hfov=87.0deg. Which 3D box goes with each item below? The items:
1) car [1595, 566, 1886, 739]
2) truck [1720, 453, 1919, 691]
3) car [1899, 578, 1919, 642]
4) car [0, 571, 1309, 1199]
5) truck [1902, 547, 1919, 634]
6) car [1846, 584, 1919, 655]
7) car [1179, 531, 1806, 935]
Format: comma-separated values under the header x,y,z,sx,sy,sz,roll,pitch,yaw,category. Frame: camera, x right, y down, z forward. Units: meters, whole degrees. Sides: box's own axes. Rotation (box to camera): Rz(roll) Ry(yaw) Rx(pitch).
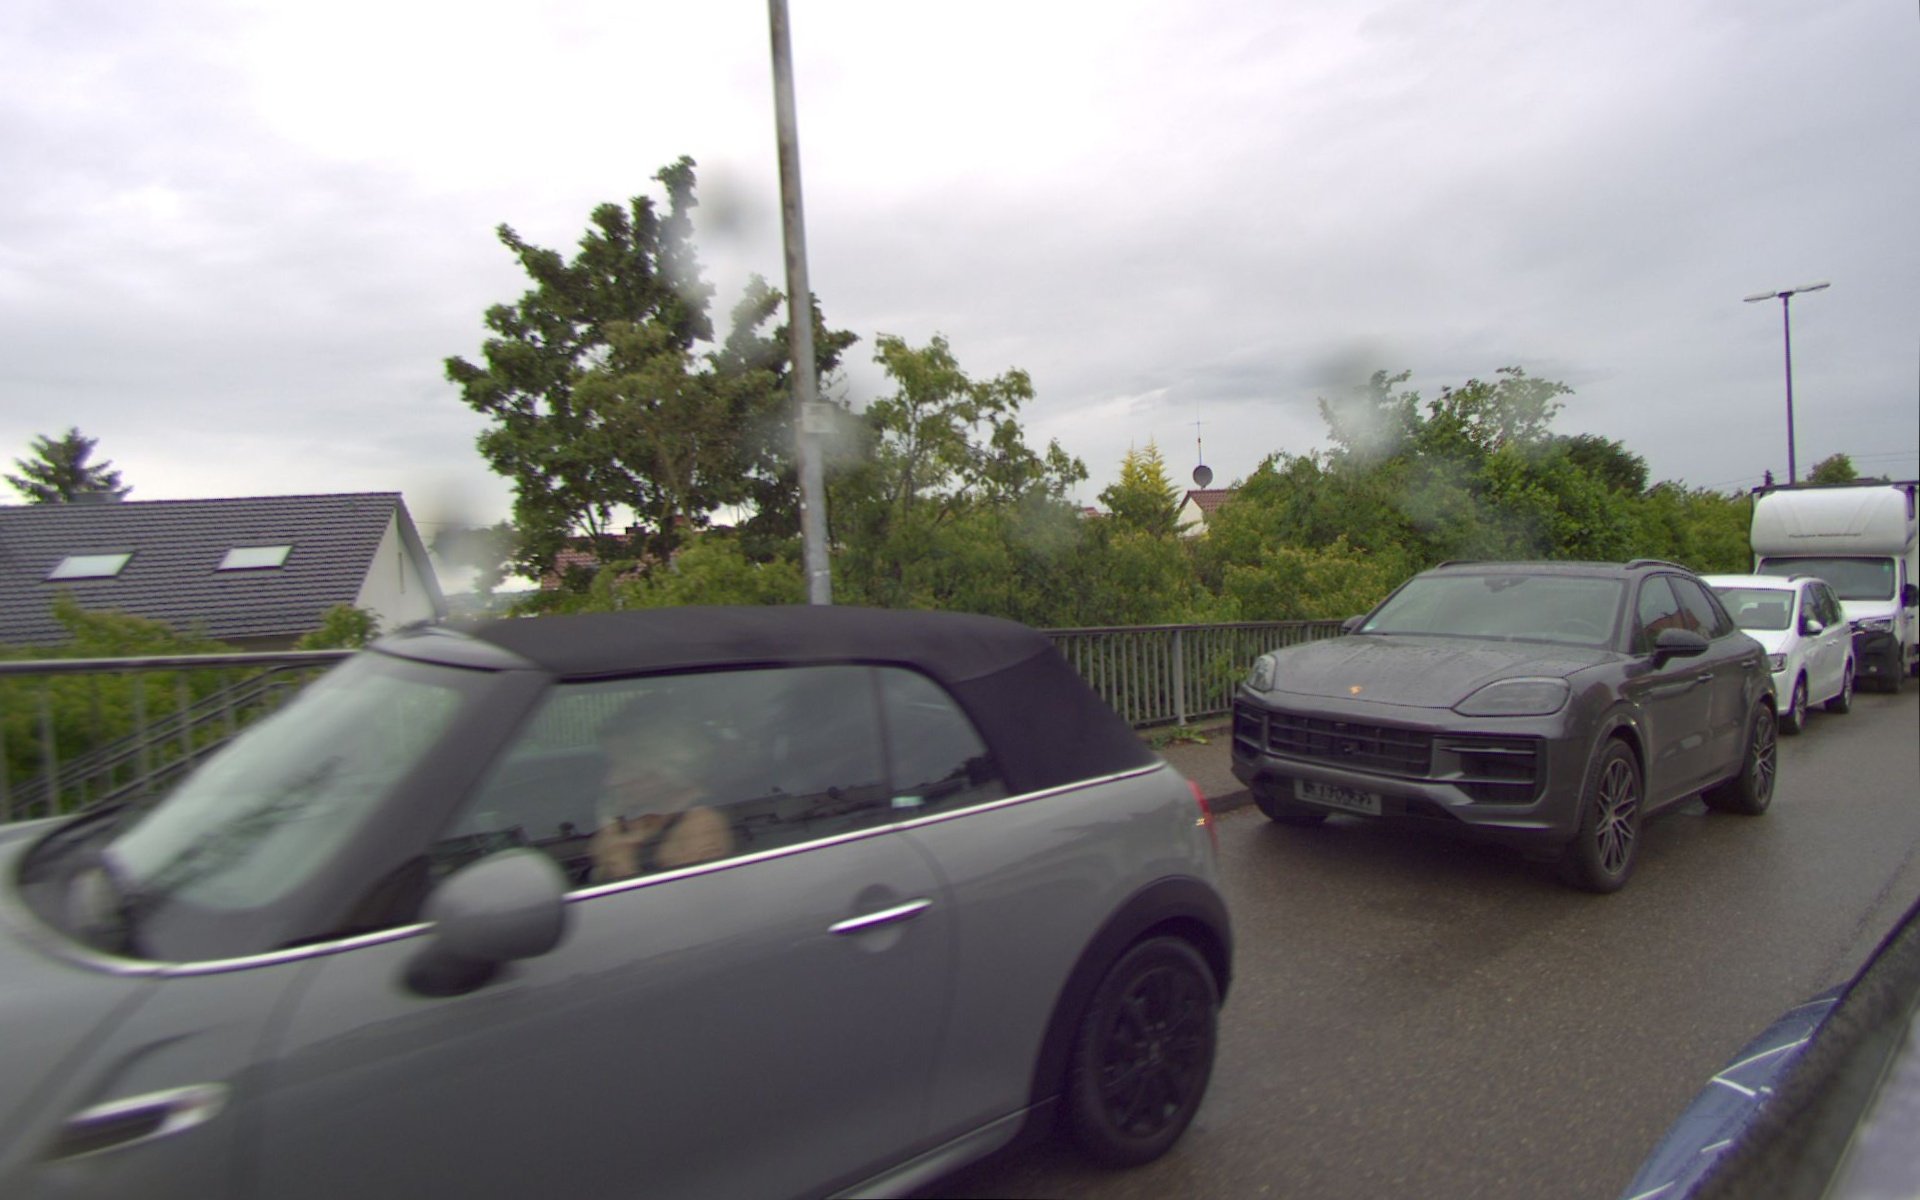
x,y,z,sx,sy,sz,roll,pitch,yaw,category
9.814,0.450,12.519,5.541,1.704,1.849,-1,2,-42,car
15.824,-0.485,17.775,7.828,3.377,2.440,-1,1,-42,truck
26.880,0.232,27.390,4.587,1.624,1.762,-1,2,-42,car
-0.894,0.666,2.447,3.730,1.447,1.592,-1,1,-40,car
32.462,-0.338,32.684,6.423,2.664,2.243,-1,1,-40,truck
21.827,0.384,23.134,4.902,1.455,1.834,-1,2,-42,car
3.627,0.517,6.471,4.611,1.692,1.940,-1,1,-40,car
